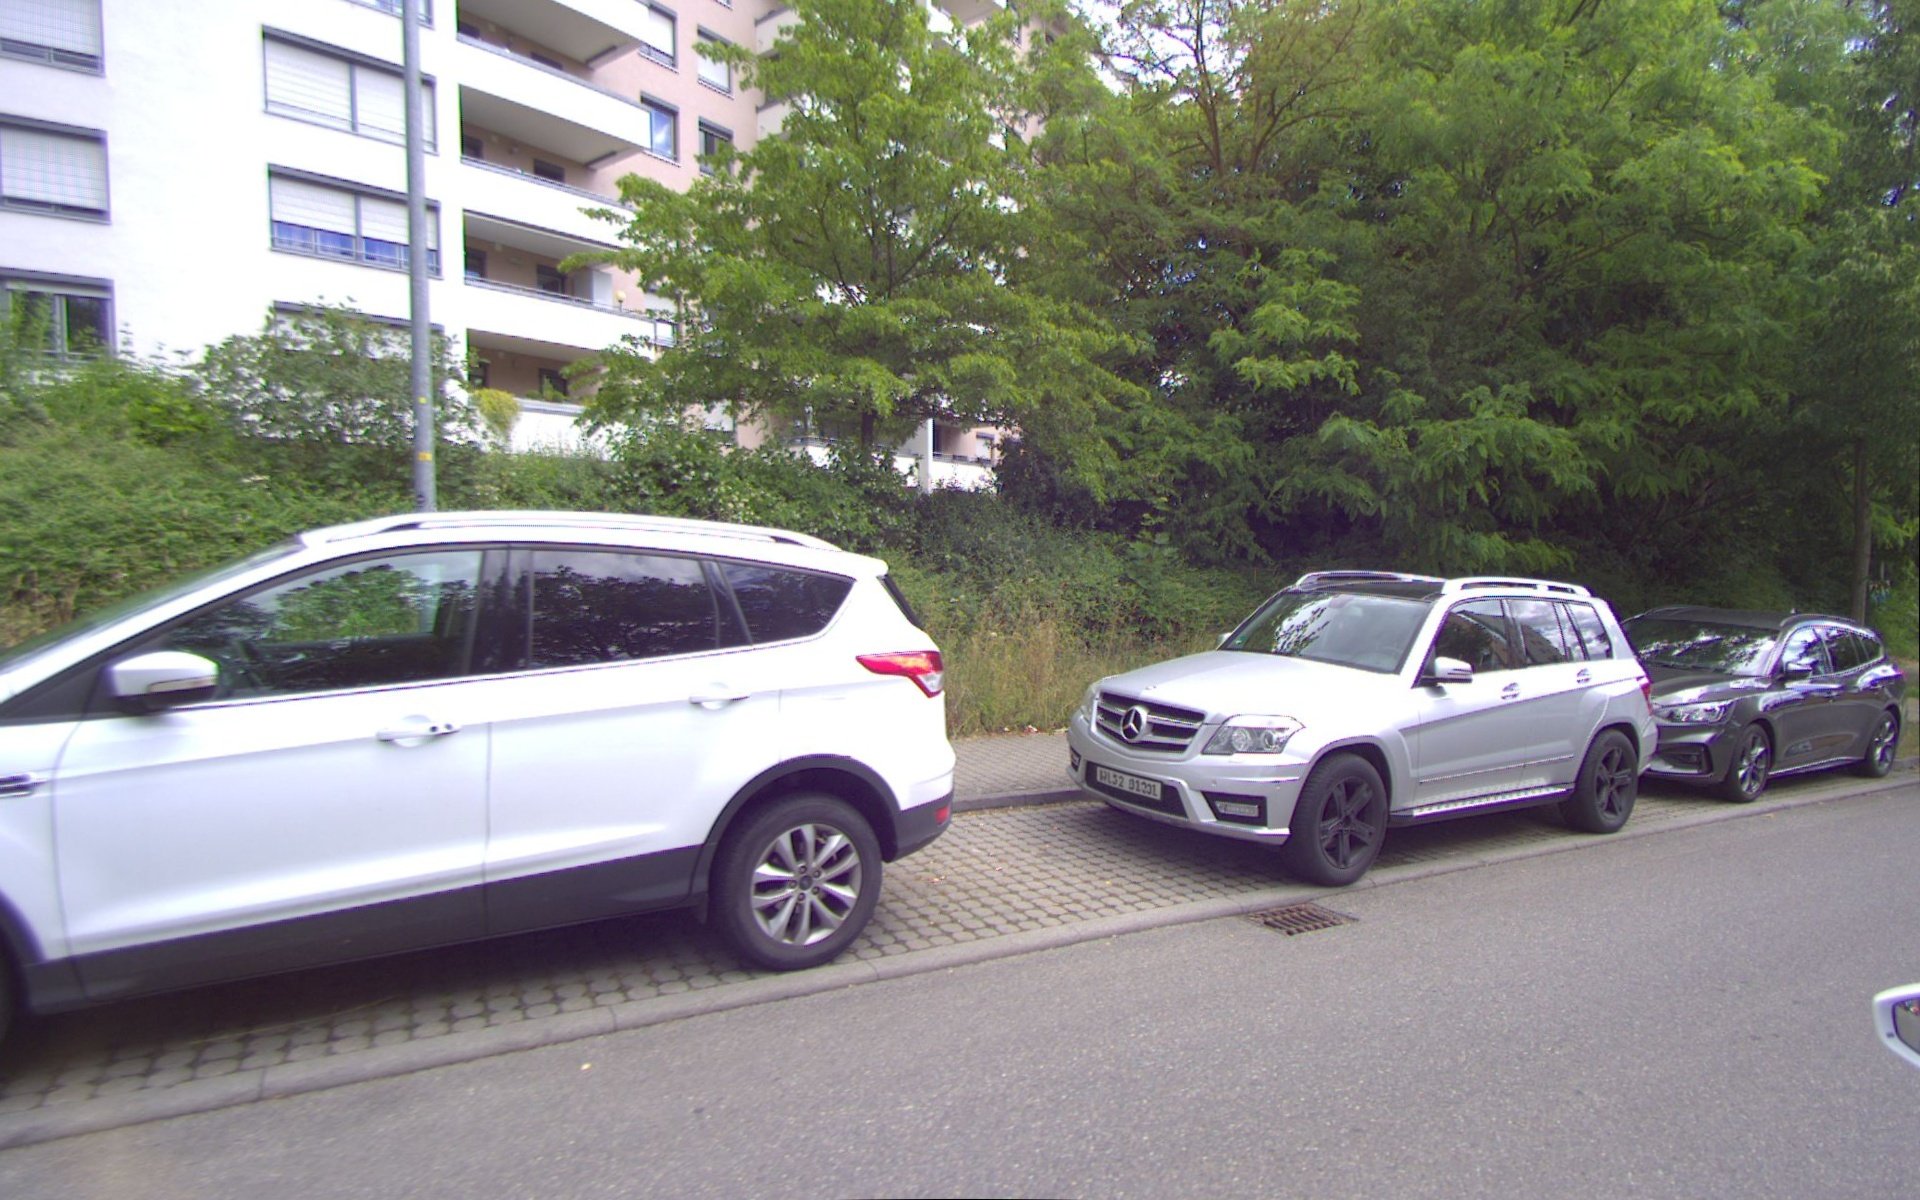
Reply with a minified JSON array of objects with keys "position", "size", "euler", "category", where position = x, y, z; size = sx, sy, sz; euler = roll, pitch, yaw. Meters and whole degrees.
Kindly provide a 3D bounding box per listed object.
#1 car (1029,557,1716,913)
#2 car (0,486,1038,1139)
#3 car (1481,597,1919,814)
[{"position":[2.817,0.632,6.642],"size":[4.424,1.637,1.790],"euler":[0,4,-30],"category":"car"},{"position":[-2.045,0.495,3.827],"size":[4.384,1.687,1.798],"euler":[0,4,-30],"category":"car"},{"position":[6.970,0.802,9.226],"size":[4.403,1.485,1.681],"euler":[1,4,-30],"category":"car"}]
